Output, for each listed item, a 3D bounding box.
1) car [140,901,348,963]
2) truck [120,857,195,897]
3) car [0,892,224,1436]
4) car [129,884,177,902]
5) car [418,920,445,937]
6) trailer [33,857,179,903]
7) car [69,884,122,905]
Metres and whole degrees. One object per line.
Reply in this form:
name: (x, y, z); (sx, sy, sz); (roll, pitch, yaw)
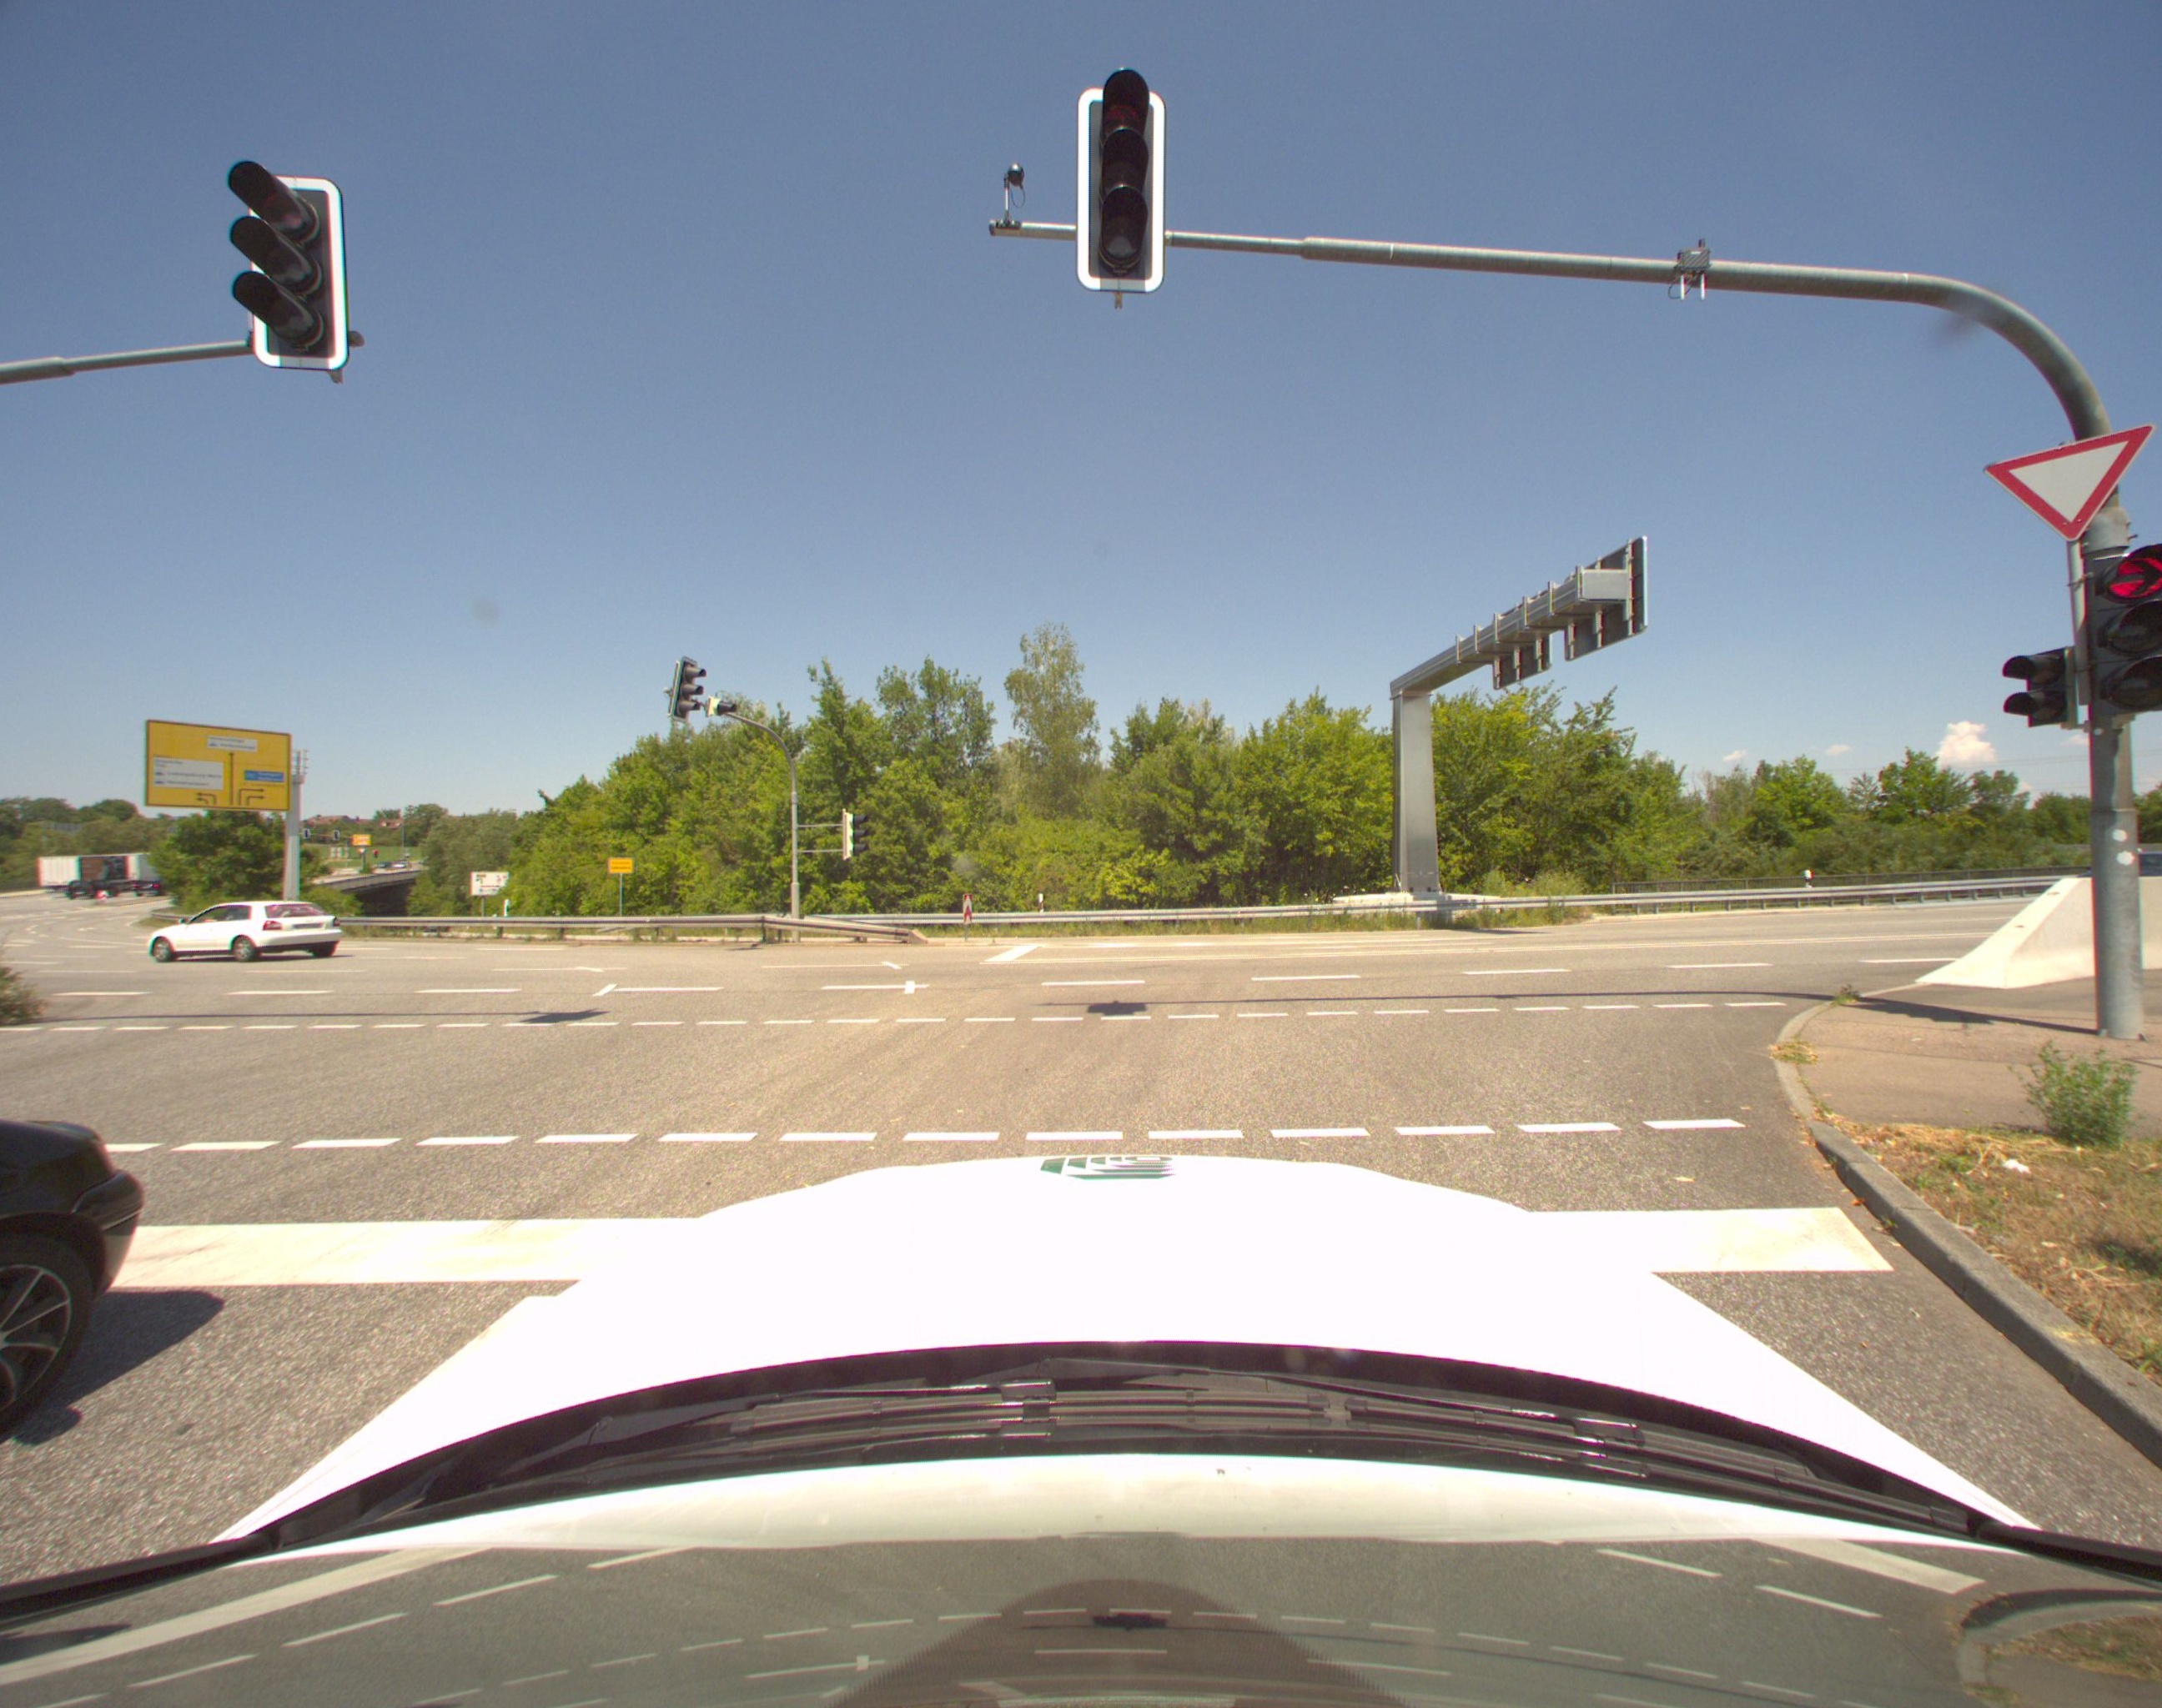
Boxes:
car: (-20.249, 1.861, 19.749); (3.950, 1.396, 1.652); (-1, -4, 13)
truck: (-104.424, 2.511, 92.206); (3.246, 4.248, 6.188); (0, 0, -24)
car: (-3.616, 0.828, 1.035); (1.615, 1.407, 3.297); (-1, -1, -2)
car: (-92.041, 3.844, 80.826); (1.888, 1.622, 3.963); (0, 0, -29)
car: (-58.808, 6.694, 73.764); (1.820, 1.434, 4.362); (3, -5, -38)
trailer: (-101.399, 2.514, 85.254); (3.246, 4.248, 15.287); (0, 0, -23)
car: (-94.129, 3.823, 77.824); (1.890, 1.732, 3.963); (0, 0, -29)
